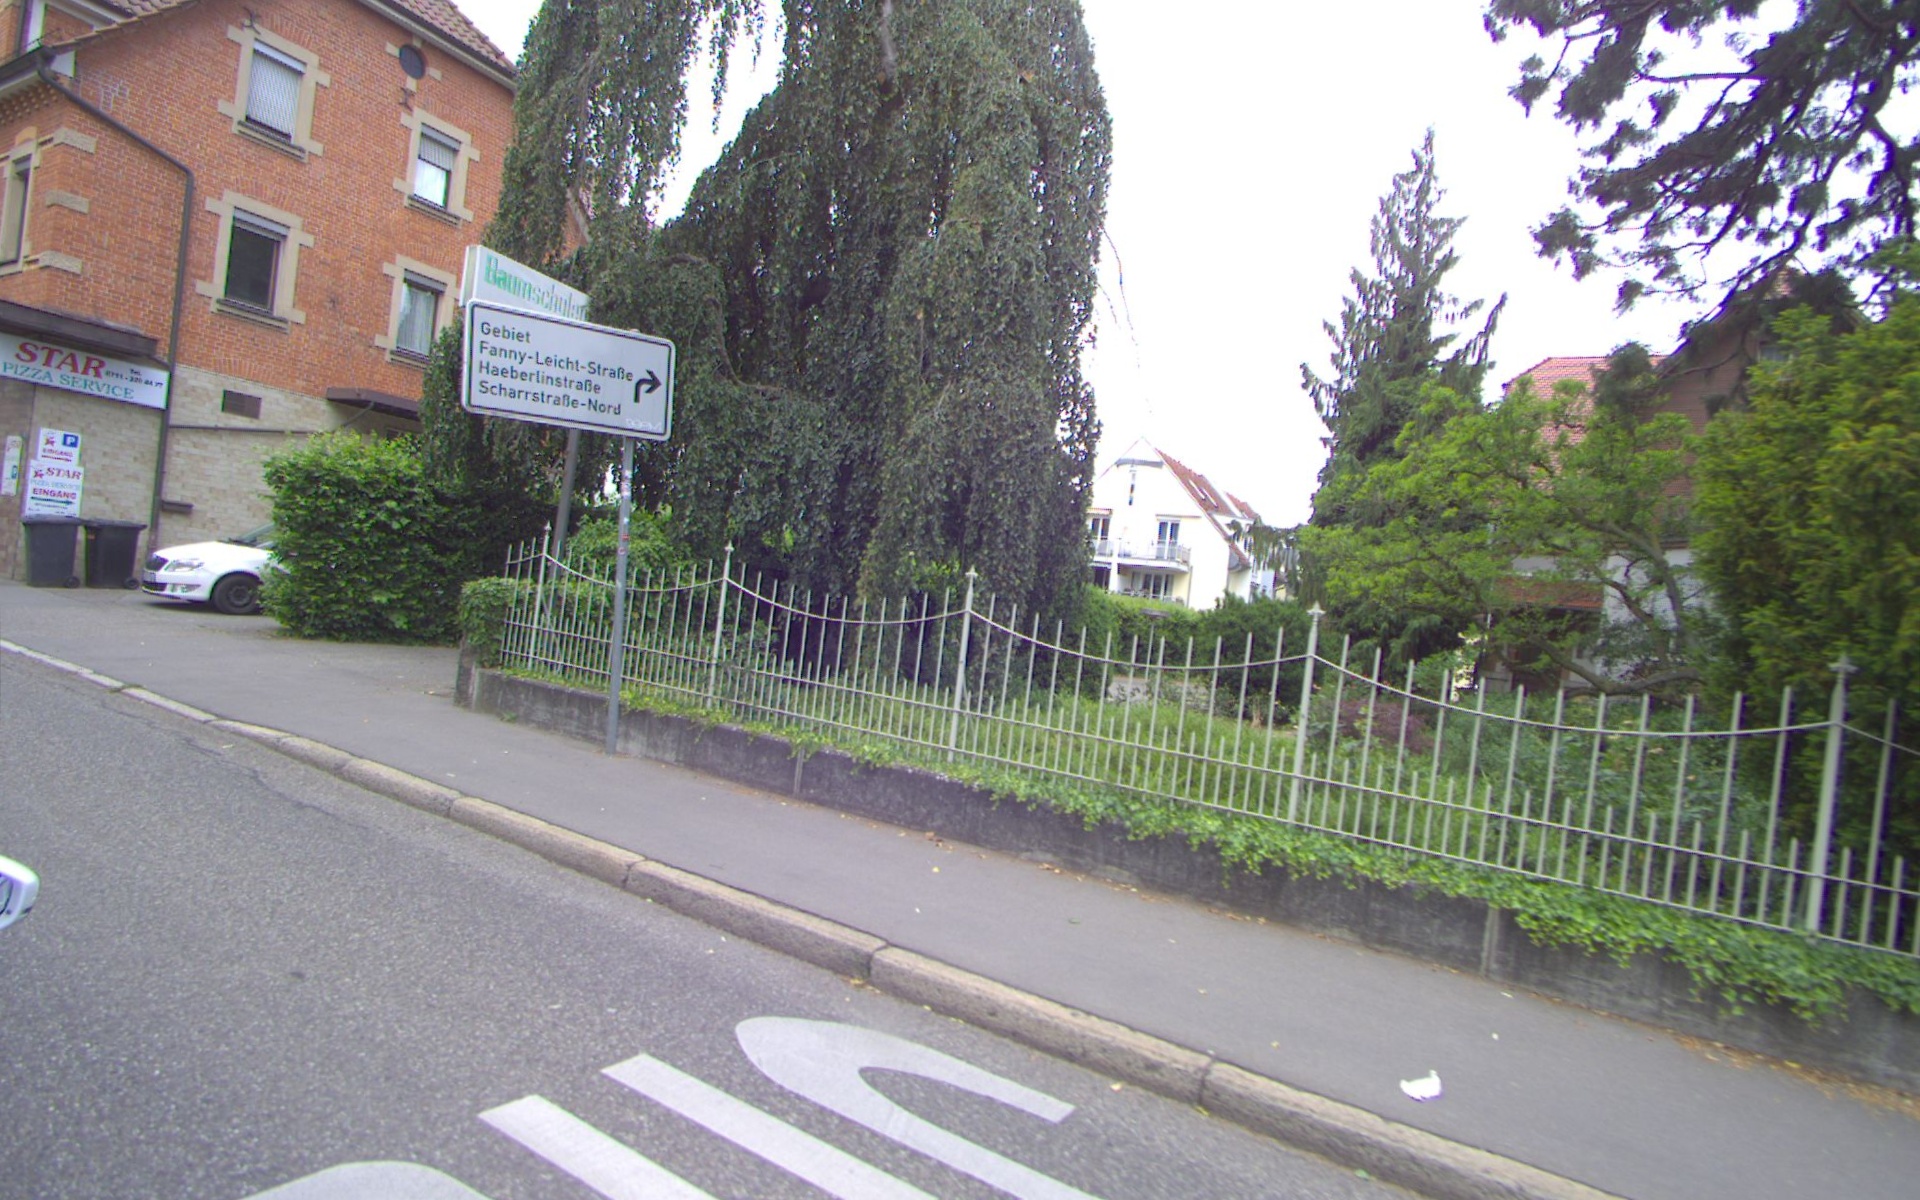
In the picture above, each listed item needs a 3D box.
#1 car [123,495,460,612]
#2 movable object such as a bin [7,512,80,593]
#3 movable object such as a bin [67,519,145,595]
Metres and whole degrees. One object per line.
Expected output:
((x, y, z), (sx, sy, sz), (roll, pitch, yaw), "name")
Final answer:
((-10.091, -0.641, 15.516), (1.574, 1.490, 4.029), (7, 3, 29), "car")
((-13.705, -0.709, 15.047), (0.612, 1.115, 0.607), (7, 2, 31), "movable object such as a bin")
((-13.319, -0.669, 15.694), (0.711, 1.073, 0.699), (7, 2, 31), "movable object such as a bin")
